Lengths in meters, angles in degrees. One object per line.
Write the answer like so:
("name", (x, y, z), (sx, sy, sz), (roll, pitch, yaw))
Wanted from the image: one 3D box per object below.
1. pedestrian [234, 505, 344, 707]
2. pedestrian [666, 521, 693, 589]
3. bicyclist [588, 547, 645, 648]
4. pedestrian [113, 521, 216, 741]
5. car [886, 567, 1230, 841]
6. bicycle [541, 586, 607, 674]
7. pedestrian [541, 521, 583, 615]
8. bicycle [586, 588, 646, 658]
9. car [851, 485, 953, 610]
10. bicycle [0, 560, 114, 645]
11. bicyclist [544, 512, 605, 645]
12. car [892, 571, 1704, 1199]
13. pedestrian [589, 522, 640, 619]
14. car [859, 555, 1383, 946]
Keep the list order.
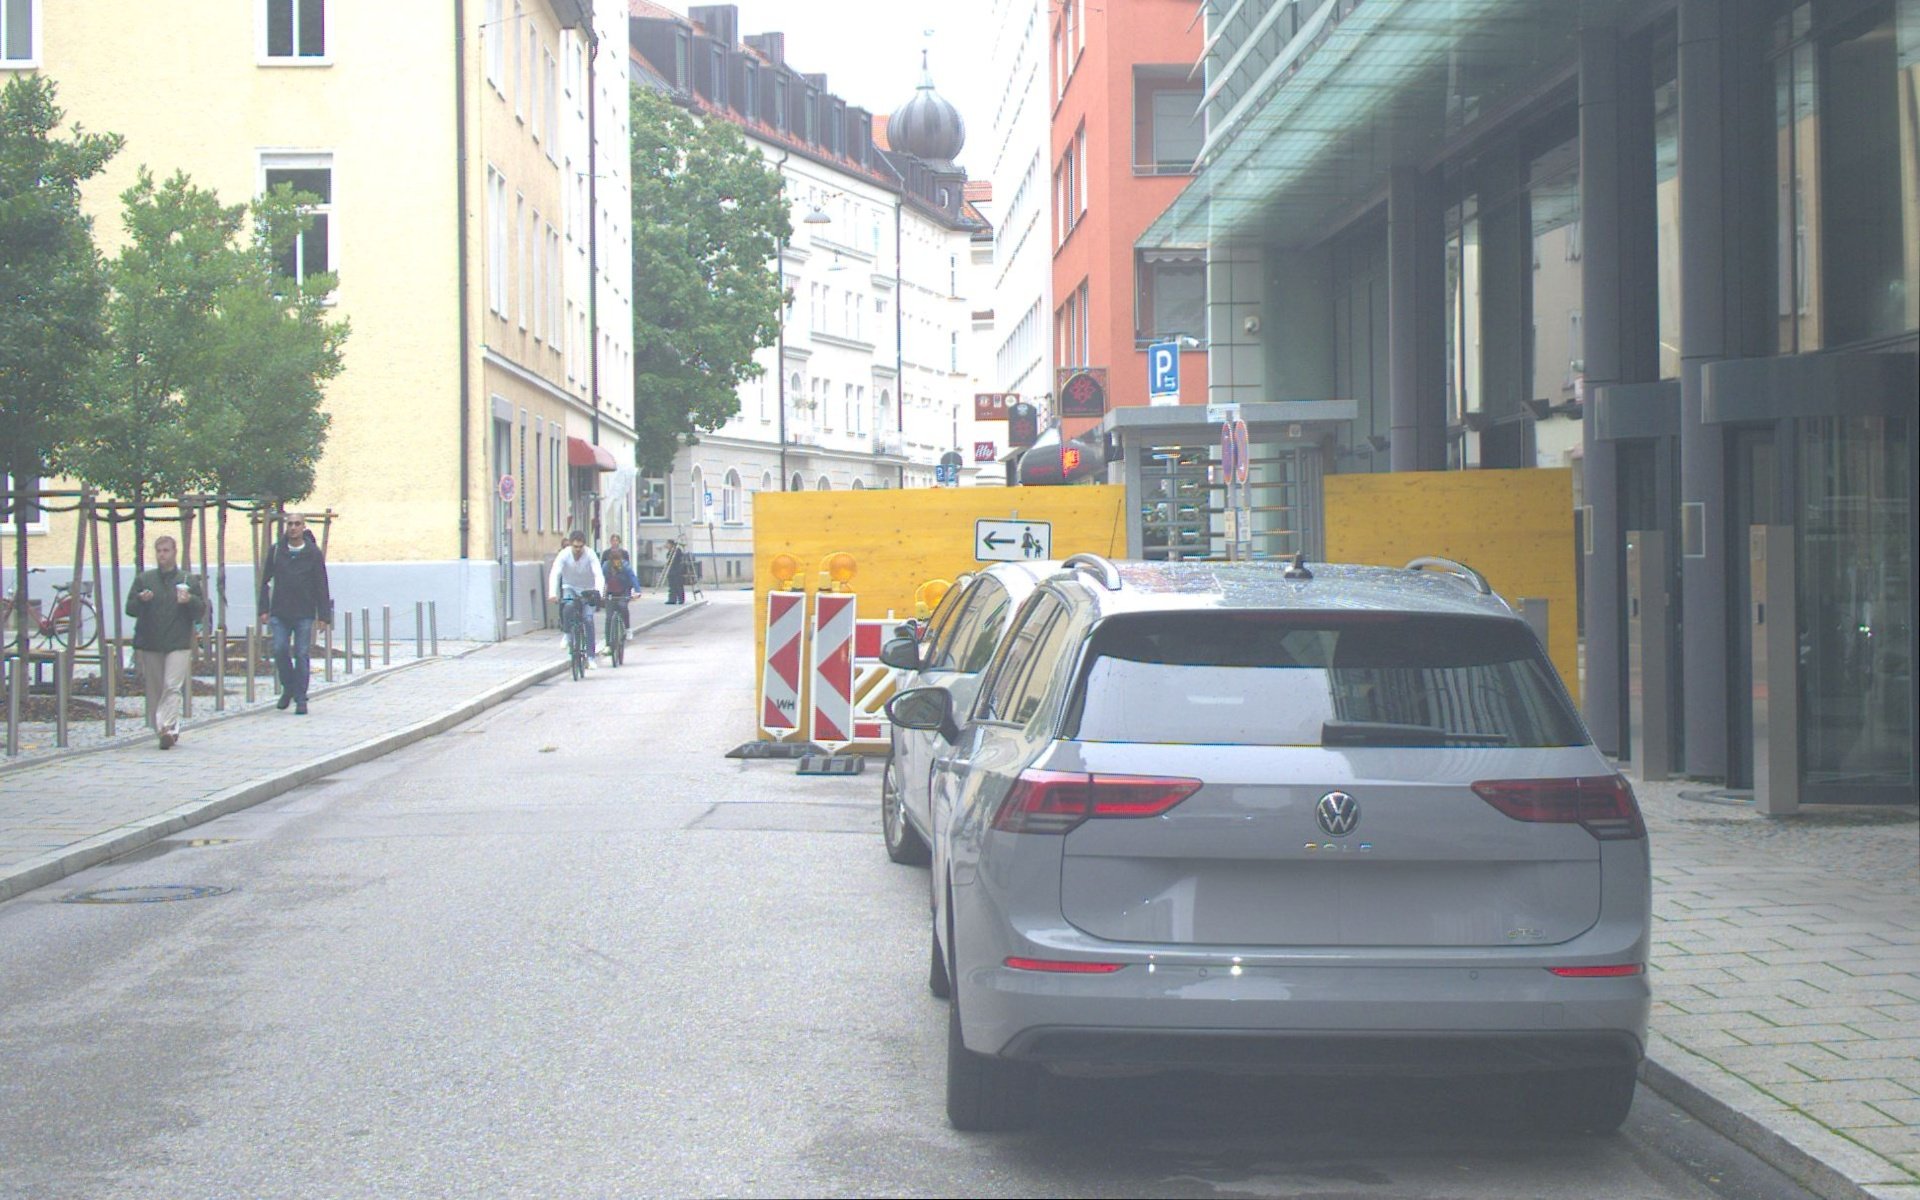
("pedestrian", (-6.353, 0.051, 32.601), (0.867, 1.875, 1.135), (0, 1, -3))
("pedestrian", (-6.977, -1.118, 85.466), (0.634, 1.669, 0.517), (0, 1, -2))
("bicyclist", (-4.716, -0.040, 47.260), (0.707, 1.366, 0.813), (-1, 1, -2))
("pedestrian", (-6.111, 0.232, 26.434), (0.647, 1.671, 0.724), (0, 1, -3))
("car", (0.468, 0.525, 20.310), (1.708, 1.409, 4.510), (1, 1, -2))
("bicycle", (-4.799, 0.362, 42.792), (0.661, 1.035, 2.005), (-1, 1, -2))
("pedestrian", (-7.009, -0.566, 60.563), (0.670, 1.642, 0.761), (0, 1, -3))
("bicycle", (-4.718, 0.307, 47.239), (0.707, 0.902, 1.810), (-1, 1, -2))
("car", (-1.258, -1.114, 72.398), (1.993, 2.528, 4.976), (0, 1, -3))
("bicycle", (-13.133, 0.025, 48.955), (2.044, 1.193, 0.570), (0, 1, 5))
("bicyclist", (-4.812, -0.271, 42.944), (0.659, 1.637, 0.895), (-1, 1, -2))
("car", (0.719, 0.648, 9.859), (1.708, 1.427, 4.330), (0, 1, -3))
("pedestrian", (-6.046, -0.519, 60.200), (0.839, 1.695, 0.803), (0, 1, -2))
("car", (0.553, 0.551, 15.150), (1.707, 1.462, 4.238), (1, 1, -5))
